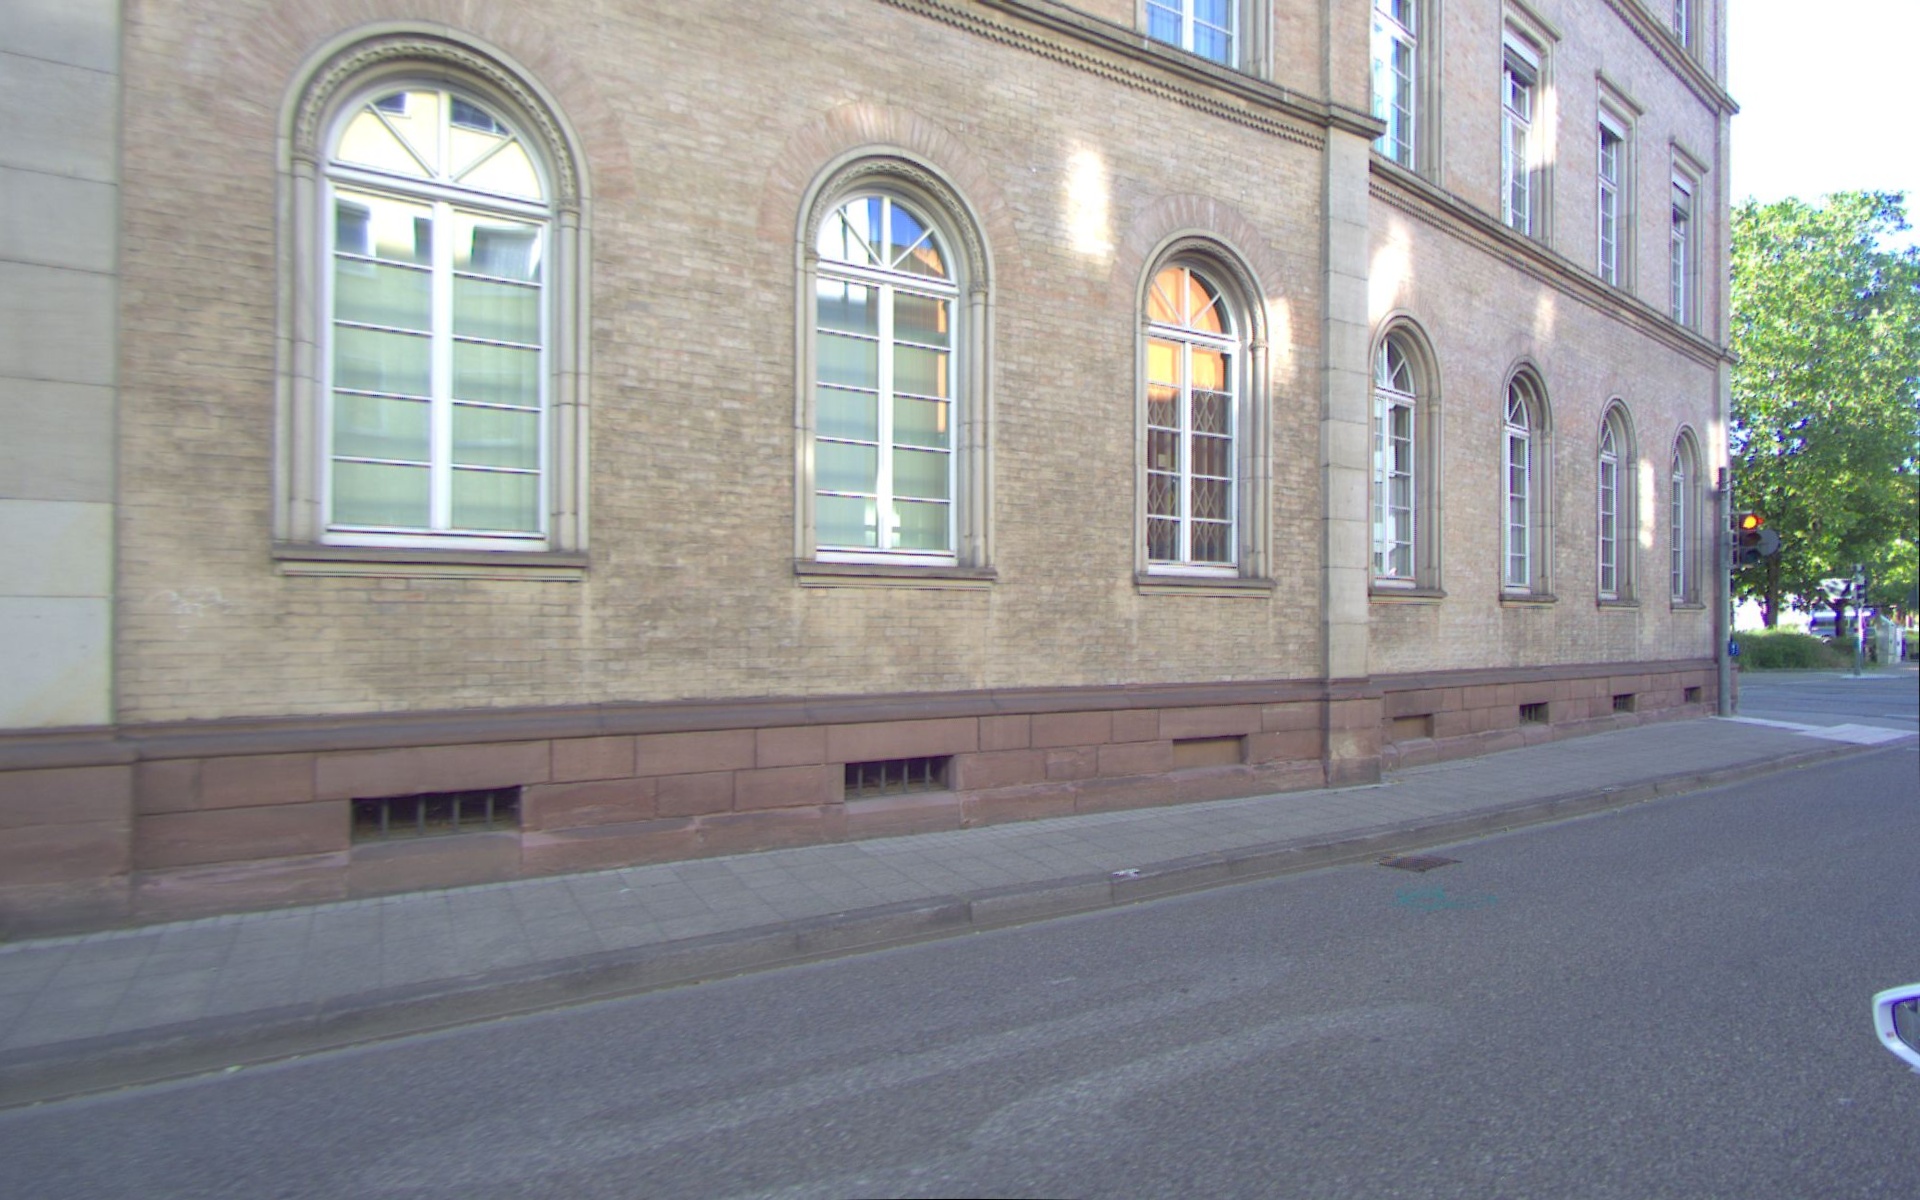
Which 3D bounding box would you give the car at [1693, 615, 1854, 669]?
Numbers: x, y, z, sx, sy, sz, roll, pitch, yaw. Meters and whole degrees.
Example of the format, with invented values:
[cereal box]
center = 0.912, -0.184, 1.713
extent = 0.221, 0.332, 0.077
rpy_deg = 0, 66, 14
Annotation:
[car]
center = 28.956, 1.446, 35.869
extent = 1.889, 1.801, 4.191
rpy_deg = 1, -1, -39
